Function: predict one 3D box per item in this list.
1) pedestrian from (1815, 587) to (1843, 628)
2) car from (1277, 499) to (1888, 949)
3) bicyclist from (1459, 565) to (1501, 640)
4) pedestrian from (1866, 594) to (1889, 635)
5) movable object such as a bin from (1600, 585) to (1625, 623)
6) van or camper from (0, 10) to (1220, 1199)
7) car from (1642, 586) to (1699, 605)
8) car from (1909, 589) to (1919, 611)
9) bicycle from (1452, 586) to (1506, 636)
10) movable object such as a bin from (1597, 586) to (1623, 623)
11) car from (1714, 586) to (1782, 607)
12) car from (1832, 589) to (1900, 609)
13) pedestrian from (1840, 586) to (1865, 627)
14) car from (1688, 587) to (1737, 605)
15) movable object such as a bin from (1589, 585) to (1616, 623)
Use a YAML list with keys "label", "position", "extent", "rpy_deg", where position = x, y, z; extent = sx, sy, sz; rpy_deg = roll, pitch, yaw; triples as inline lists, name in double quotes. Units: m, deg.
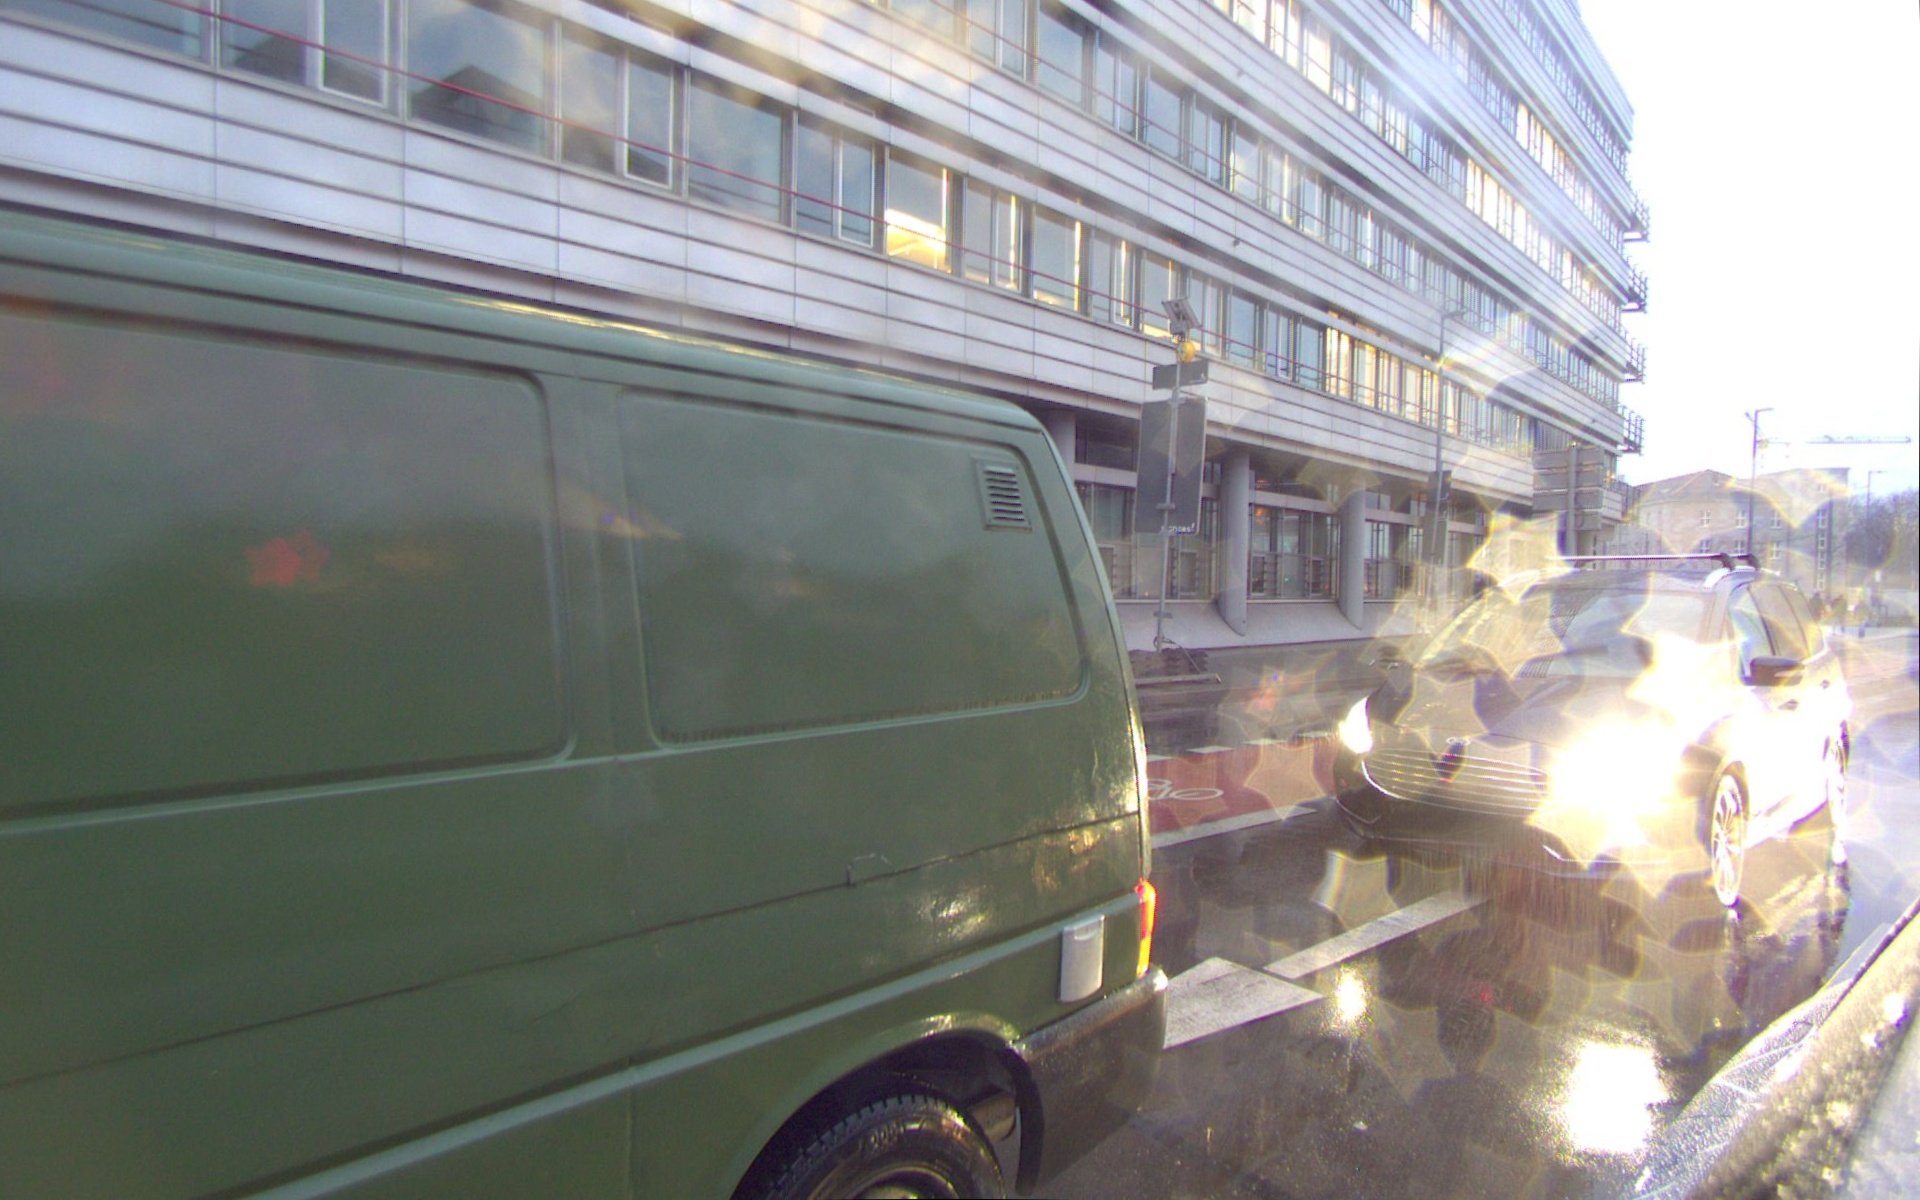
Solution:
- label: "pedestrian"
  position: [38.184, 0.324, 44.488]
  extent: [0.953, 1.722, 0.746]
  rpy_deg: [0, 4, -44]
- label: "car"
  position: [4.110, 0.497, 6.328]
  extent: [4.587, 1.834, 1.887]
  rpy_deg: [0, 0, -39]
- label: "bicyclist"
  position: [13.025, 0.046, 25.341]
  extent: [0.793, 1.820, 0.670]
  rpy_deg: [0, 2, -45]
- label: "pedestrian"
  position: [38.923, 0.608, 42.932]
  extent: [0.870, 1.689, 0.615]
  rpy_deg: [0, 3, -44]
- label: "movable object such as a bin"
  position: [26.074, 0.164, 40.444]
  extent: [0.826, 1.495, 0.665]
  rpy_deg: [0, 1, -44]
- label: "van or camper"
  position: [-1.681, 0.453, 1.290]
  extent: [4.341, 1.931, 1.760]
  rpy_deg: [0, 0, -41]
- label: "car"
  position: [68.625, -0.460, 97.820]
  extent: [1.958, 1.693, 4.013]
  rpy_deg: [0, 1, -24]
- label: "car"
  position: [76.599, 0.068, 78.544]
  extent: [1.743, 1.730, 3.932]
  rpy_deg: [0, 1, -26]
- label: "bicycle"
  position: [12.992, 0.255, 25.313]
  extent: [1.733, 1.213, 0.680]
  rpy_deg: [0, 2, -45]
- label: "movable object such as a bin"
  position: [25.499, 0.165, 39.709]
  extent: [0.826, 1.446, 0.665]
  rpy_deg: [0, 1, -44]
- label: "car"
  position: [71.079, -0.358, 91.383]
  extent: [1.958, 1.782, 4.386]
  rpy_deg: [0, 1, -24]
- label: "car"
  position: [74.302, -0.111, 83.035]
  extent: [1.743, 1.556, 3.775]
  rpy_deg: [1, 1, -24]
- label: "pedestrian"
  position: [38.331, 0.275, 43.454]
  extent: [0.870, 1.723, 0.650]
  rpy_deg: [0, 3, -44]
- label: "car"
  position: [79.299, -0.439, 106.667]
  extent: [1.757, 1.829, 3.740]
  rpy_deg: [1, 1, -25]
- label: "movable object such as a bin"
  position: [24.840, 0.150, 39.125]
  extent: [0.826, 1.446, 0.665]
  rpy_deg: [0, 1, -44]
